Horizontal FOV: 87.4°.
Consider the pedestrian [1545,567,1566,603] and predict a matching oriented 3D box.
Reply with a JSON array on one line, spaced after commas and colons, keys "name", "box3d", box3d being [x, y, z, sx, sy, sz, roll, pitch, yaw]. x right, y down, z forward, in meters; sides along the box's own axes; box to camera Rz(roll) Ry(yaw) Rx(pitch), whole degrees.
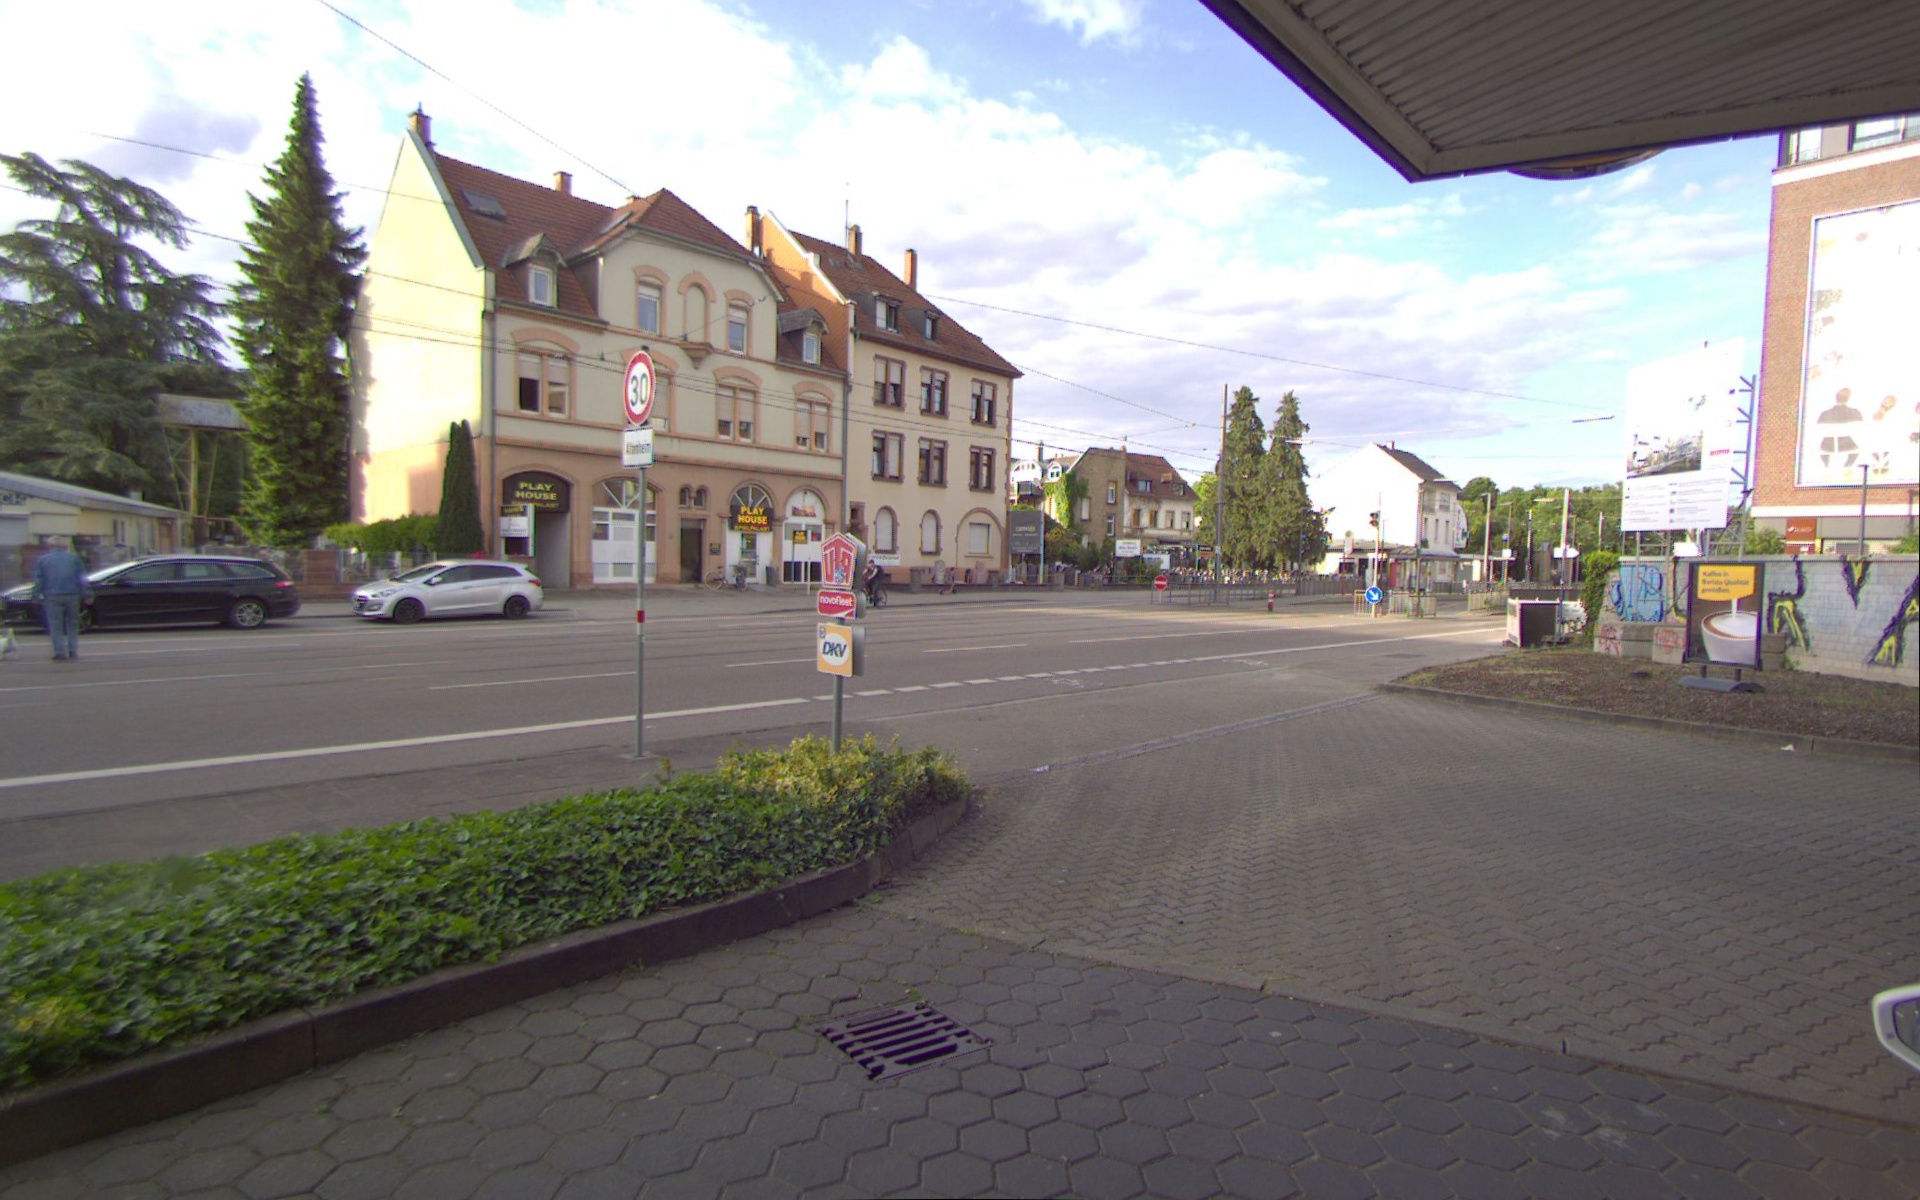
[{"name": "pedestrian", "box3d": [33.643, -0.847, 56.709, 0.797, 2.040, 0.845, 2, 0, 44]}]

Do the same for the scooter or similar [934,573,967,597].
[{"name": "scooter or similar", "box3d": [-0.435, -0.661, 45.119, 0.461, 1.041, 1.655, 4, 3, 40]}]

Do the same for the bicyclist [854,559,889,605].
[{"name": "bicyclist", "box3d": [-3.090, -0.636, 35.038, 0.669, 1.555, 1.081, 1, 2, 36]}]

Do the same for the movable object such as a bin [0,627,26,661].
[{"name": "movable object such as a bin", "box3d": [-13.454, 0.616, 14.071, 0.670, 0.426, 0.478, 4, 3, 40]}]

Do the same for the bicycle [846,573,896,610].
[{"name": "bicycle", "box3d": [-3.098, -0.314, 35.044, 0.669, 1.239, 1.912, 1, 2, 36]}]

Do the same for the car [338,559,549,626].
[{"name": "car", "box3d": [-12.917, -0.232, 25.363, 1.699, 1.503, 4.434, 4, 4, 40]}]

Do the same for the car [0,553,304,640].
[{"name": "car", "box3d": [-16.597, -0.137, 20.741, 1.983, 1.520, 4.755, 4, 4, 39]}]

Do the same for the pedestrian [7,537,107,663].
[{"name": "pedestrian", "box3d": [-12.660, -0.018, 14.121, 0.996, 1.690, 0.959, 0, 3, -41]}]

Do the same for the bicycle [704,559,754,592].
[{"name": "bicycle", "box3d": [-9.105, -0.951, 39.617, 0.665, 1.229, 1.862, 4, 2, 41]}]
